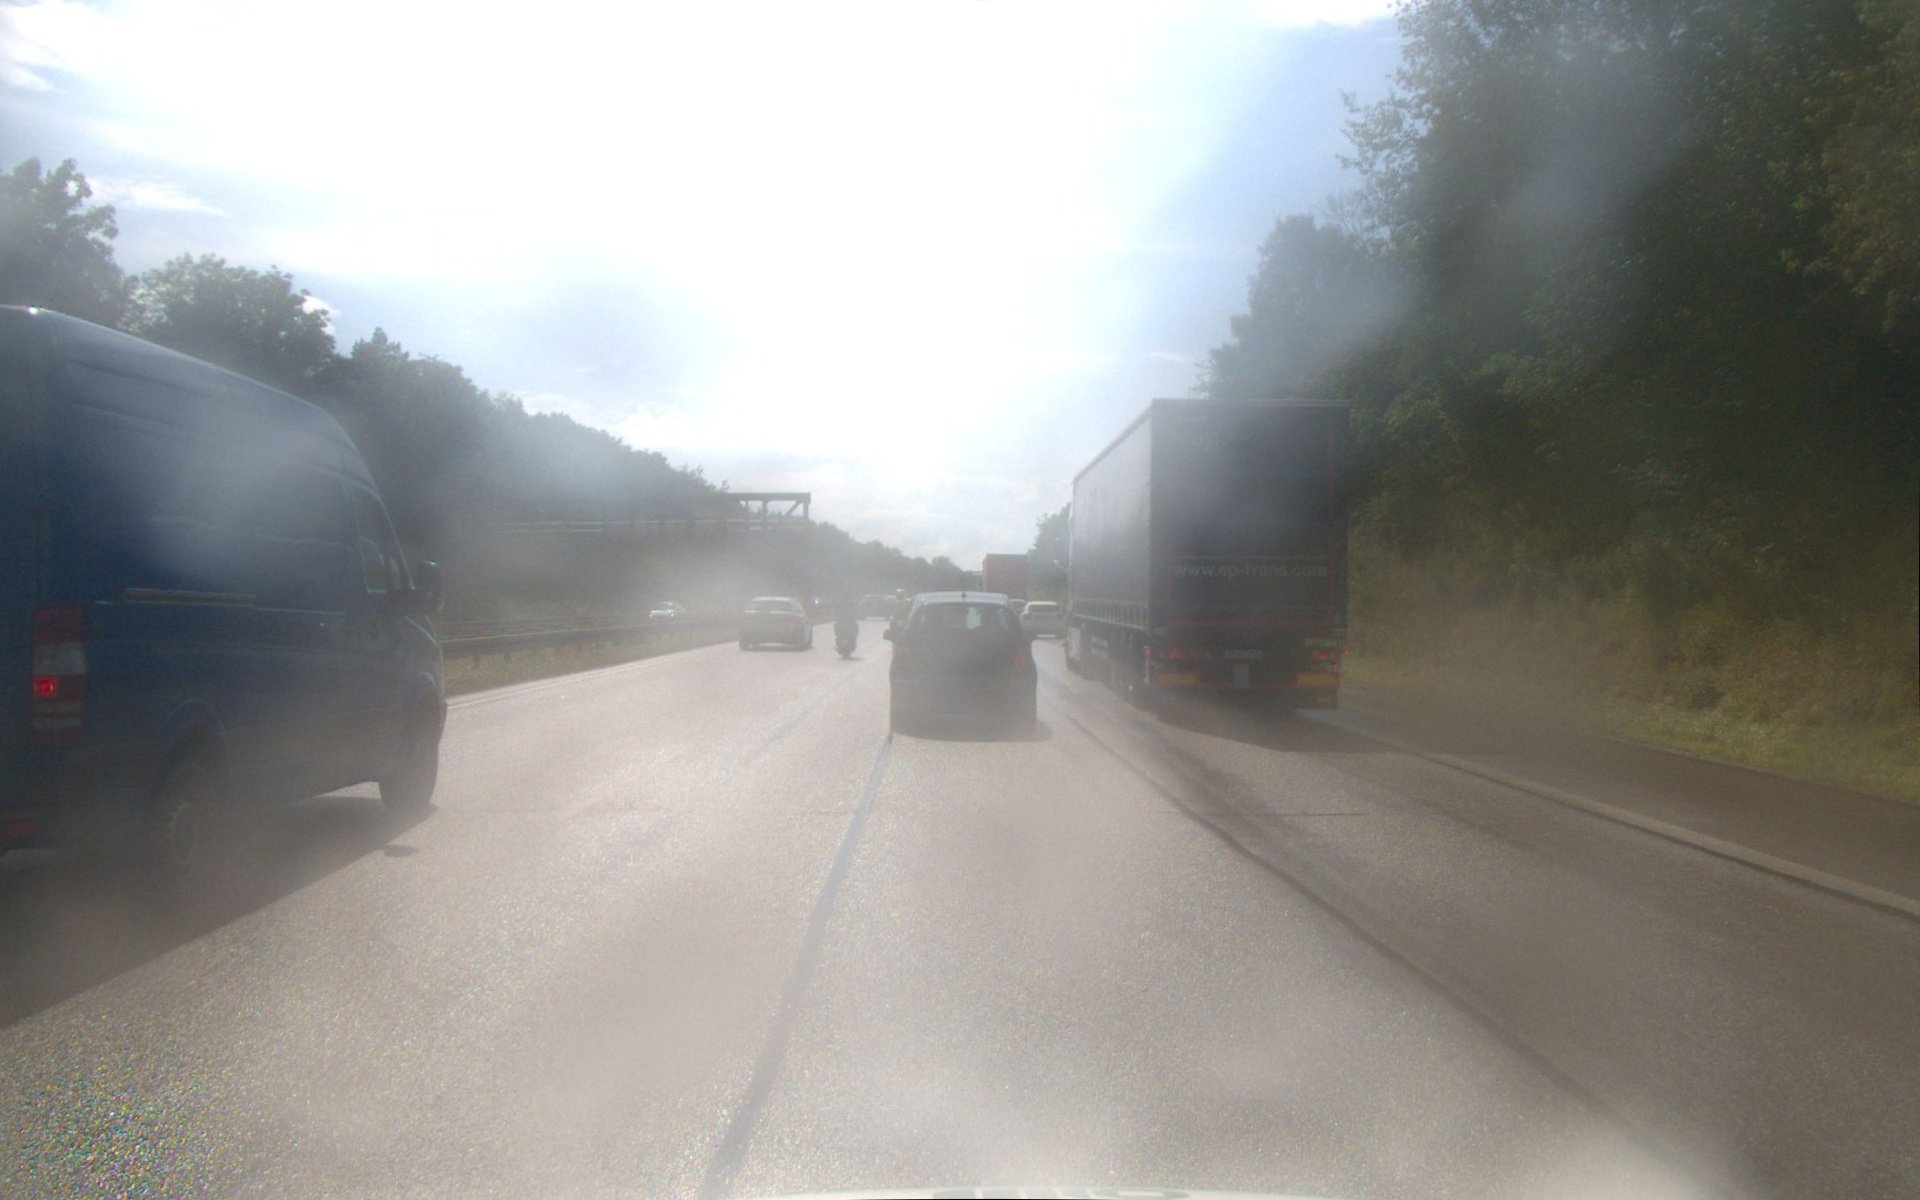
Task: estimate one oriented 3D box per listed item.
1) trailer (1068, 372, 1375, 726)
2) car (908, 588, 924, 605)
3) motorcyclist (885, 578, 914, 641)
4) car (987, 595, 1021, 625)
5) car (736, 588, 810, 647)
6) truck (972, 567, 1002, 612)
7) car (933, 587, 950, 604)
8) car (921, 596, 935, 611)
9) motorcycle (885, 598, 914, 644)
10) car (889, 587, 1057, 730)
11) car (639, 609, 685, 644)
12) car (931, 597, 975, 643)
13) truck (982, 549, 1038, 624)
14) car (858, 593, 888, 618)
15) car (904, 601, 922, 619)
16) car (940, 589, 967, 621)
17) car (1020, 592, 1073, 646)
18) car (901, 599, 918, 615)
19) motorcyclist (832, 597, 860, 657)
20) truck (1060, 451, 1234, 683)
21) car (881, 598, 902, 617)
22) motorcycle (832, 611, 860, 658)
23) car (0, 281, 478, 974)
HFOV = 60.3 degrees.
[{"bbox_3d":[3.723,-0.637,27.649,3.025,4.388,14.105,0,0,1],"label":"trailer"},{"bbox_3d":[-5.450,-0.428,206.829,1.953,2.049,3.999,1,0,-1],"label":"car"},{"bbox_3d":[-1.762,0.281,48.266,0.805,1.791,1.390,1,0,-2],"label":"motorcyclist"},{"bbox_3d":[2.287,0.529,86.552,1.641,1.516,3.436,0,0,-1],"label":"car"},{"bbox_3d":[-5.383,0.477,47.985,1.723,1.622,4.329,0,0,-1],"label":"car"},{"bbox_3d":[2.920,-1.125,182.810,2.823,4.769,12.656,1,0,-1],"label":"truck"},{"bbox_3d":[-1.750,-0.434,157.991,1.598,1.516,3.436,0,0,-1],"label":"car"},{"bbox_3d":[-4.438,0.507,229.983,1.953,2.049,3.999,1,0,-1],"label":"car"},{"bbox_3d":[-1.759,0.605,48.310,0.803,1.285,2.116,1,0,-2],"label":"motorcycle"},{"bbox_3d":[0.109,0.655,20.727,1.876,1.592,4.313,0,0,-1],"label":"car"},{"bbox_3d":[-18.117,1.580,100.689,1.953,2.049,4.805,1,0,-1],"label":"car"},{"bbox_3d":[-0.337,0.932,77.086,1.953,2.049,3.999,1,0,-2],"label":"car"},{"bbox_3d":[3.070,-0.807,104.407,3.137,4.481,9.431,0,0,0],"label":"truck"},{"bbox_3d":[-5.761,0.354,109.574,1.854,1.656,4.194,0,0,-1],"label":"car"},{"bbox_3d":[-5.438,1.127,191.225,1.953,2.049,3.999,1,0,-1],"label":"car"},{"bbox_3d":[-0.420,0.298,102.139,1.641,1.970,3.772,0,0,-1],"label":"car"},{"bbox_3d":[3.392,0.749,65.352,1.811,2.049,4.086,1,0,0],"label":"car"},{"bbox_3d":[-5.079,0.714,165.983,1.641,1.516,3.436,0,0,-1],"label":"car"},{"bbox_3d":[-2.825,0.673,41.091,0.657,1.467,1.019,1,-1,-4],"label":"motorcyclist"},{"bbox_3d":[3.764,-0.636,34.632,2.989,4.400,5.886,1,0,0],"label":"truck"},{"bbox_3d":[-5.771,0.613,139.472,1.641,1.625,3.436,0,0,-1],"label":"car"},{"bbox_3d":[-2.832,0.845,41.106,0.662,1.106,1.980,1,0,-4],"label":"motorcycle"},{"bbox_3d":[-4.503,0.098,9.297,1.975,2.695,5.775,0,0,-1],"label":"car"}]
